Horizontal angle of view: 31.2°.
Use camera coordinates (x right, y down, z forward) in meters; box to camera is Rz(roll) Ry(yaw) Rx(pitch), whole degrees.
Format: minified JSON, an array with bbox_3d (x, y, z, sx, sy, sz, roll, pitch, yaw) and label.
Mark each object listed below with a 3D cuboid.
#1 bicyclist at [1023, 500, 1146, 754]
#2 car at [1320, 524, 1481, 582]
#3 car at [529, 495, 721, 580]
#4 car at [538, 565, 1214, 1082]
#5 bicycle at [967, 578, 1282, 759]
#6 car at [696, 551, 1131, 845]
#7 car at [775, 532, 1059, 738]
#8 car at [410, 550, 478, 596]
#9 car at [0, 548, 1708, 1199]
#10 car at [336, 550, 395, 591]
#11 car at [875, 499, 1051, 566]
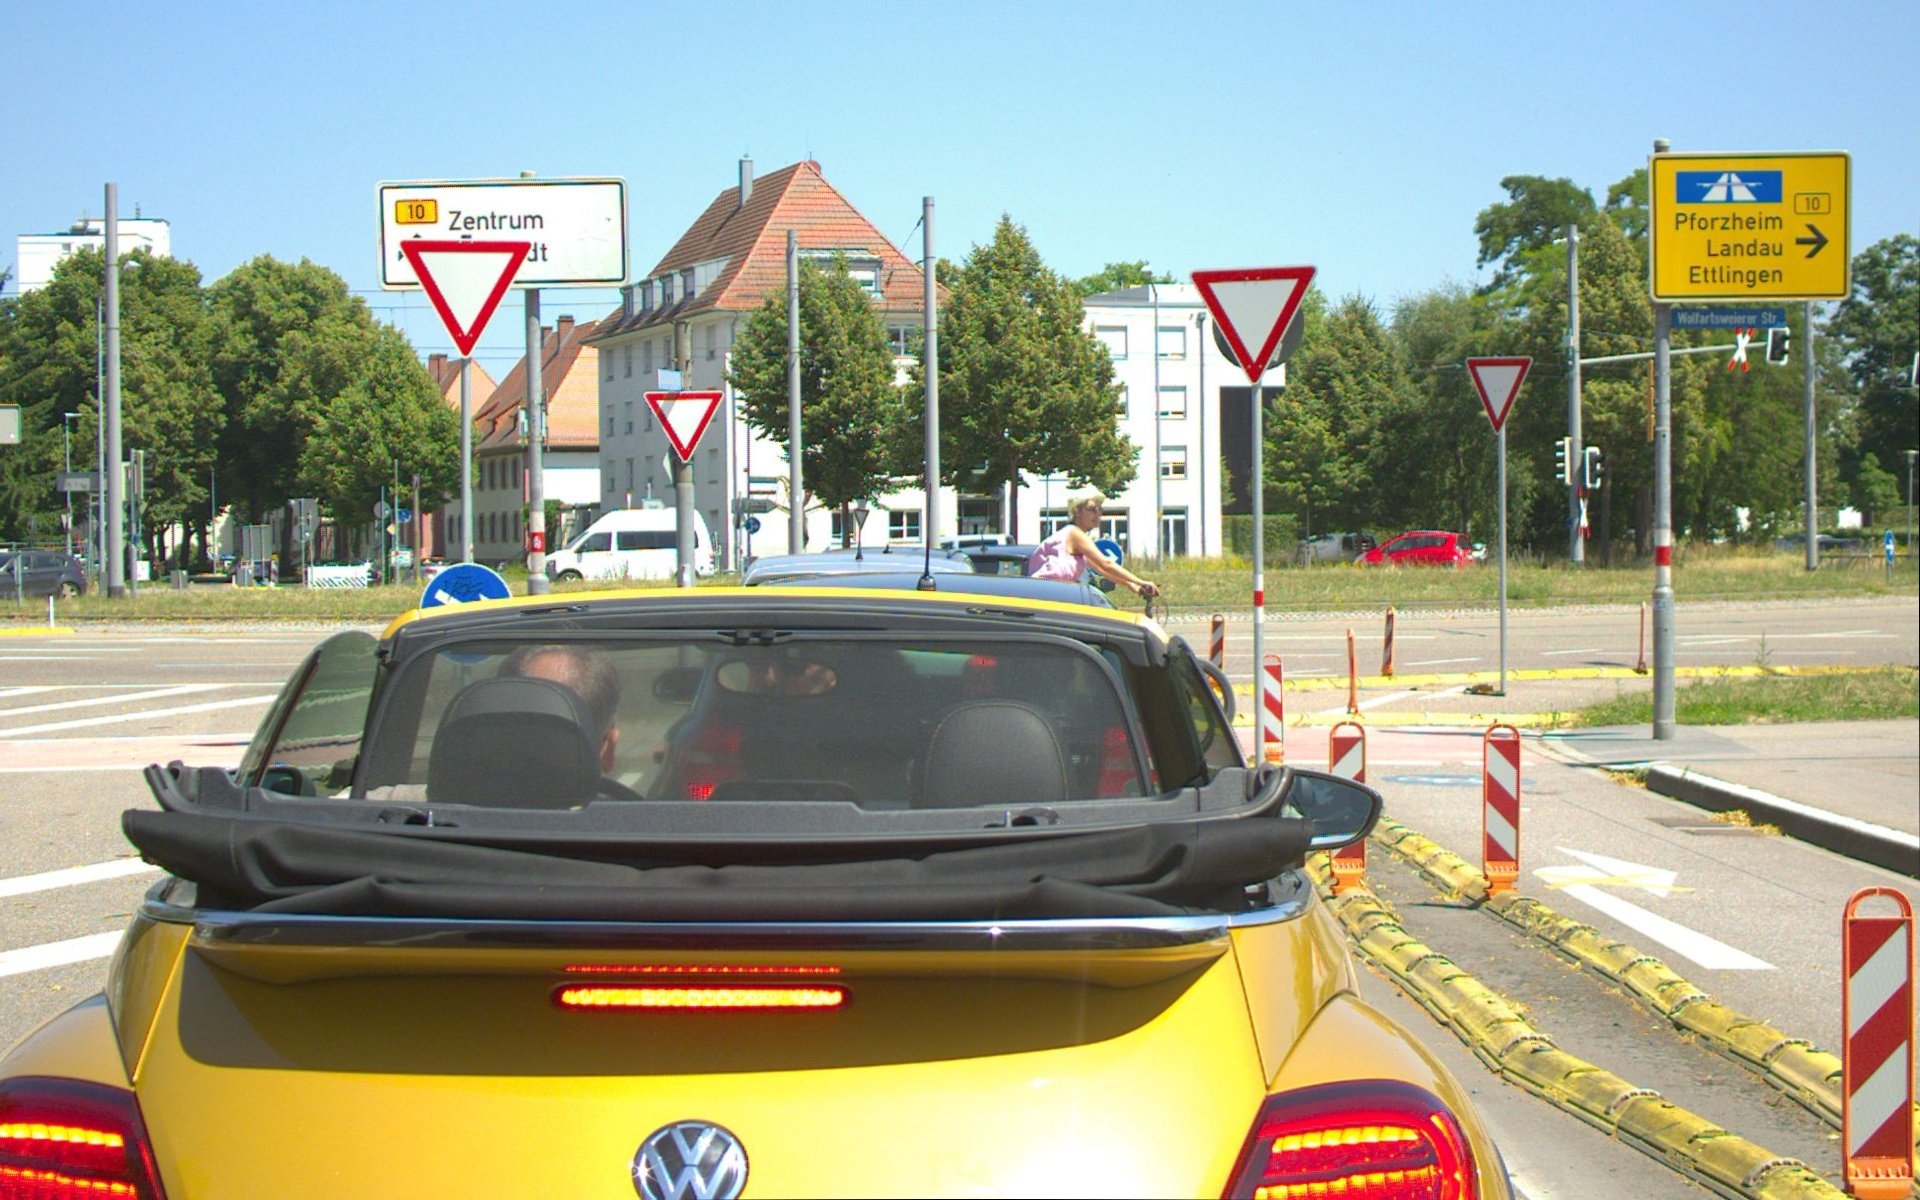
[{"bbox_3d":[0.882,0.183,24.189,0.670,1.746,0.592,-1,2,21],"label":"bicyclist"},{"bbox_3d":[13.041,-1.402,101.864,4.340,1.648,1.897,1,1,33],"label":"car"},{"bbox_3d":[-9.755,-1.806,99.997,5.309,2.389,1.995,1,0,-12],"label":"car"},{"bbox_3d":[-0.255,0.596,11.647,1.851,1.361,4.258,-1,1,-1],"label":"car"},{"bbox_3d":[1.147,0.471,24.057,2.094,1.217,0.633,0,1,22],"label":"bicycle"},{"bbox_3d":[-0.224,0.449,18.571,2.065,1.377,4.258,1,1,0],"label":"car"},{"bbox_3d":[-0.340,0.211,27.487,2.065,1.476,4.543,-1,1,-1],"label":"car"},{"bbox_3d":[-20.123,-1.063,134.004,1.884,1.766,4.001,1,1,-19],"label":"car"},{"bbox_3d":[-0.272,0.680,5.087,1.765,1.476,4.258,1,1,-1],"label":"car"},{"bbox_3d":[-26.100,-1.314,150.857,1.884,1.766,4.001,1,1,-19],"label":"car"},{"bbox_3d":[0.110,-2.184,111.253,5.315,2.063,1.993,1,0,16],"label":"car"}]
